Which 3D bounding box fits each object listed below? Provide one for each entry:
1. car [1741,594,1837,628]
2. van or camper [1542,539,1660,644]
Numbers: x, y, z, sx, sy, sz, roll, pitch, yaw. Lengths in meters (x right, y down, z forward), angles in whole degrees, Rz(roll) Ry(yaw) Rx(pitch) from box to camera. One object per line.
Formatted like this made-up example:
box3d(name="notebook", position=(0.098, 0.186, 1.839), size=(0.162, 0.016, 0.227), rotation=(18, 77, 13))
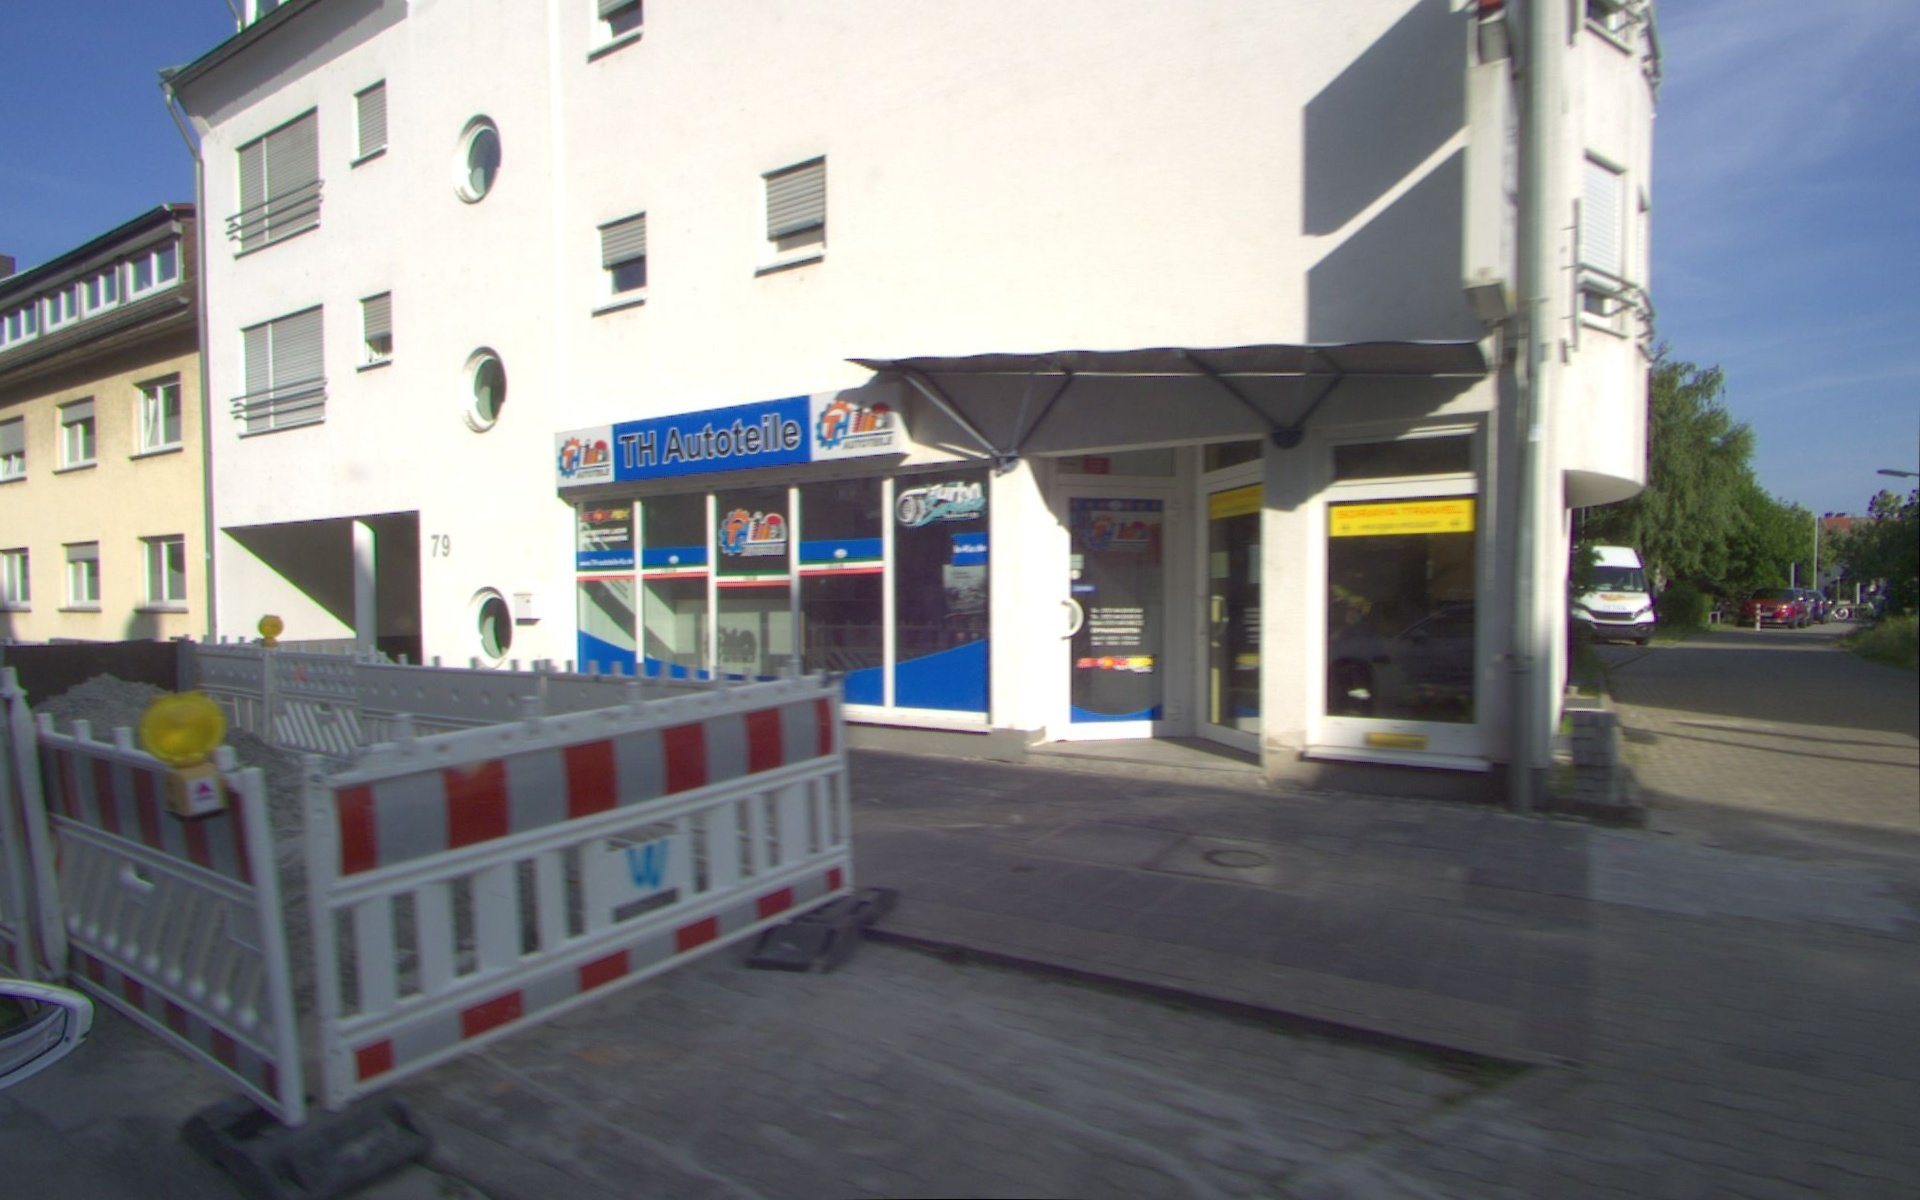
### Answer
box3d(name="car", position=(32.965, 0.422, 39.815), size=(3.680, 1.244, 1.602), rotation=(-1, 1, -27))
box3d(name="van or camper", position=(17.052, -0.249, 26.861), size=(1.967, 2.563, 4.172), rotation=(2, 2, 24))
